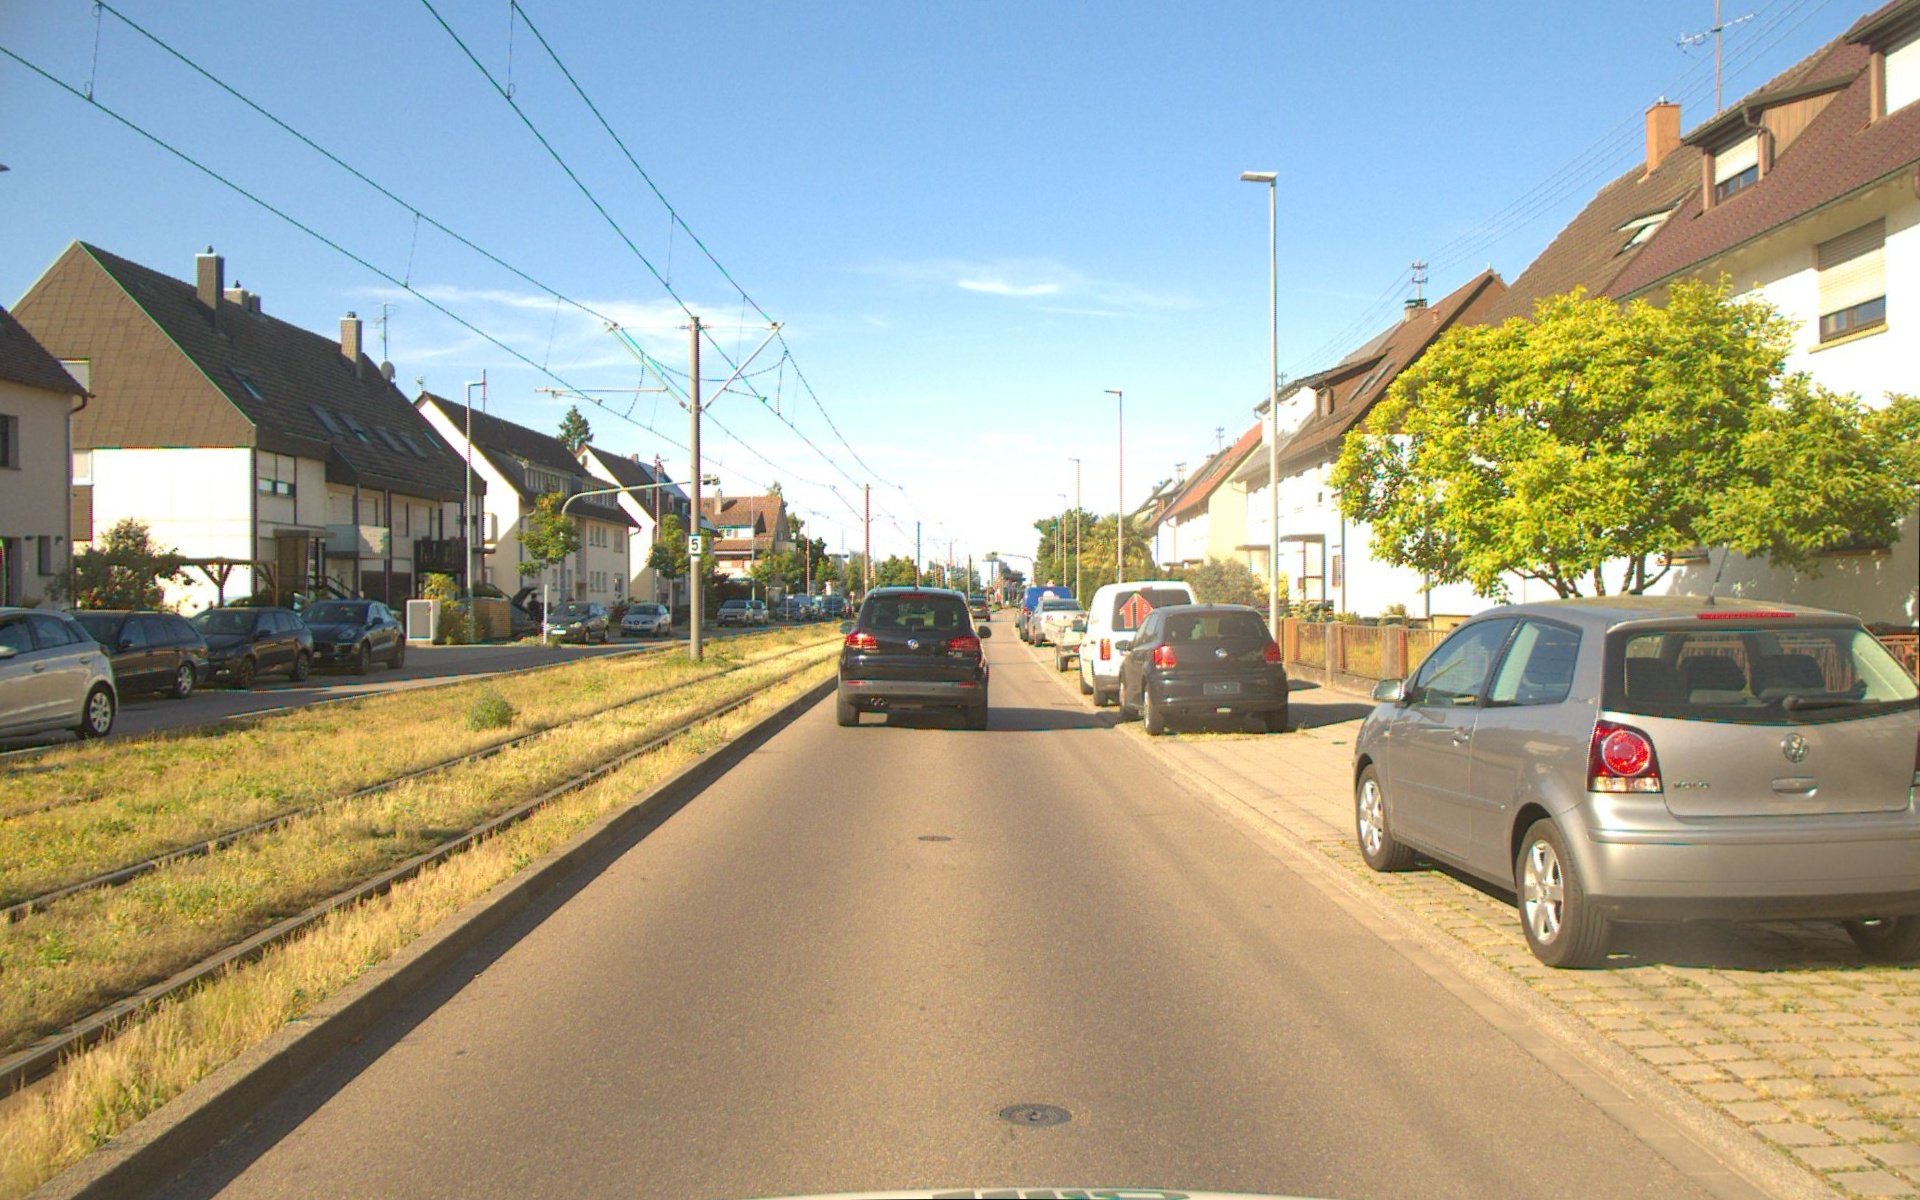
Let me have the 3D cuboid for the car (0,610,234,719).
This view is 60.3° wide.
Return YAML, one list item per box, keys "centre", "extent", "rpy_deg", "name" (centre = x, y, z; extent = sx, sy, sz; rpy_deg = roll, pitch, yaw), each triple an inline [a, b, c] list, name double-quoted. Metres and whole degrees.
- centre: [-13.781, 0.963, 26.669]
  extent: [1.838, 1.549, 4.882]
  rpy_deg: [0, 0, 2]
  name: "car"

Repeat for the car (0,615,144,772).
- centre: [-10.110, 0.942, 16.737]
  extent: [1.673, 1.517, 4.024]
  rpy_deg: [-1, -1, 0]
  name: "car"

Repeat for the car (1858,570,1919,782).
- centre: [8.404, 0.482, 10.165]
  extent: [1.969, 1.470, 4.842]
  rpy_deg: [-2, 0, -26]
  name: "car"

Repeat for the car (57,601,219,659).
- centre: [-25.354, 0.919, 51.097]
  extent: [4.071, 1.683, 1.858]
  rpy_deg: [-1, 0, 3]
  name: "car"

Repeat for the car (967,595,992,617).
- centre: [1.285, 0.411, 110.465]
  extent: [1.540, 1.415, 3.614]
  rpy_deg: [-1, 0, 0]
  name: "car"

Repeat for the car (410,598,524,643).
- centre: [-18.463, 0.772, 62.109]
  extent: [3.827, 1.595, 1.732]
  rpy_deg: [-1, 0, -7]
  name: "car"

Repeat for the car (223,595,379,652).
- centre: [-20.338, 0.701, 51.155]
  extent: [4.083, 1.645, 1.758]
  rpy_deg: [-1, 0, -4]
  name: "car"

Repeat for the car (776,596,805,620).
- centre: [-11.977, 0.570, 117.119]
  extent: [1.626, 1.609, 4.000]
  rpy_deg: [-1, -1, 0]
  name: "car"

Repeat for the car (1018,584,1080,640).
- centre: [3.164, 0.412, 59.497]
  extent: [1.953, 1.894, 4.917]
  rpy_deg: [-1, 0, 0]
  name: "car"

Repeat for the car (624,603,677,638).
- centre: [-13.367, 0.908, 71.600]
  extent: [1.585, 1.434, 3.717]
  rpy_deg: [-1, -1, 0]
  name: "car"

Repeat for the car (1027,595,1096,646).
- centre: [3.219, 0.629, 53.125]
  extent: [1.750, 1.466, 4.458]
  rpy_deg: [-3, 0, -2]
  name: "car"

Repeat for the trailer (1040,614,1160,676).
- centre: [2.997, 0.947, 36.313]
  extent: [2.159, 1.113, 4.371]
  rpy_deg: [-3, 0, -1]
  name: "trailer"

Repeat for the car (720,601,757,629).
- centre: [-12.666, 0.857, 94.750]
  extent: [1.625, 1.523, 3.579]
  rpy_deg: [-1, 0, 0]
  name: "car"

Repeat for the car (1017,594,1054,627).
- centre: [3.711, 0.488, 81.623]
  extent: [1.611, 1.561, 3.864]
  rpy_deg: [-1, 0, 0]
  name: "car"

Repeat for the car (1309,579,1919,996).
- centre: [3.101, 0.683, 8.306]
  extent: [1.583, 1.501, 4.447]
  rpy_deg: [-1, 0, -2]
  name: "car"

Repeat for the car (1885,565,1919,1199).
- centre: [3.140, 0.669, 2.201]
  extent: [1.632, 1.574, 3.835]
  rpy_deg: [-3, 0, 0]
  name: "car"

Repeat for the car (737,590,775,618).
- centre: [-12.435, 0.220, 100.910]
  extent: [1.766, 1.660, 4.000]
  rpy_deg: [-1, 1, 0]
  name: "car"

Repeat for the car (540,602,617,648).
- centre: [-13.538, 0.870, 58.859]
  extent: [1.584, 1.478, 3.720]
  rpy_deg: [-1, 1, 5]
  name: "car"

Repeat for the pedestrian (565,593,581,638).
- centre: [-15.237, 0.613, 65.160]
  extent: [0.459, 1.776, 0.536]
  rpy_deg: [-1, 0, -1]
  name: "pedestrian"

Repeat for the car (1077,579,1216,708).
- centre: [2.849, 0.608, 26.121]
  extent: [1.655, 1.807, 4.656]
  rpy_deg: [-1, 0, 0]
  name: "car"

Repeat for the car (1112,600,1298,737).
- centre: [2.910, 0.761, 20.415]
  extent: [1.637, 1.478, 4.125]
  rpy_deg: [-1, 0, 0]
  name: "car"

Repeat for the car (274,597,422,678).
- centre: [-13.746, 0.789, 37.422]
  extent: [1.767, 1.625, 4.809]
  rpy_deg: [-1, 0, -3]
  name: "car"

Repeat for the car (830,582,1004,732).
- centre: [-0.651, 0.666, 21.074]
  extent: [1.777, 1.700, 4.250]
  rpy_deg: [1, 0, -7]
  name: "car"

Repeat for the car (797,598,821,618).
- centre: [-11.230, 0.557, 122.889]
  extent: [1.484, 1.385, 3.590]
  rpy_deg: [-1, 0, -1]
  name: "car"

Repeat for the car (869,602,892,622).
- centre: [-7.097, 1.127, 148.354]
  extent: [1.835, 1.684, 3.999]
  rpy_deg: [-1, -1, 0]
  name: "car"

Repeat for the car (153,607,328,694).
- centre: [-13.768, 0.919, 31.900]
  extent: [1.489, 1.500, 4.201]
  rpy_deg: [-1, 1, 0]
  name: "car"

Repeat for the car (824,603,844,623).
- centre: [-10.642, 1.093, 139.901]
  extent: [1.435, 1.706, 3.287]
  rpy_deg: [-1, 0, 0]
  name: "car"
